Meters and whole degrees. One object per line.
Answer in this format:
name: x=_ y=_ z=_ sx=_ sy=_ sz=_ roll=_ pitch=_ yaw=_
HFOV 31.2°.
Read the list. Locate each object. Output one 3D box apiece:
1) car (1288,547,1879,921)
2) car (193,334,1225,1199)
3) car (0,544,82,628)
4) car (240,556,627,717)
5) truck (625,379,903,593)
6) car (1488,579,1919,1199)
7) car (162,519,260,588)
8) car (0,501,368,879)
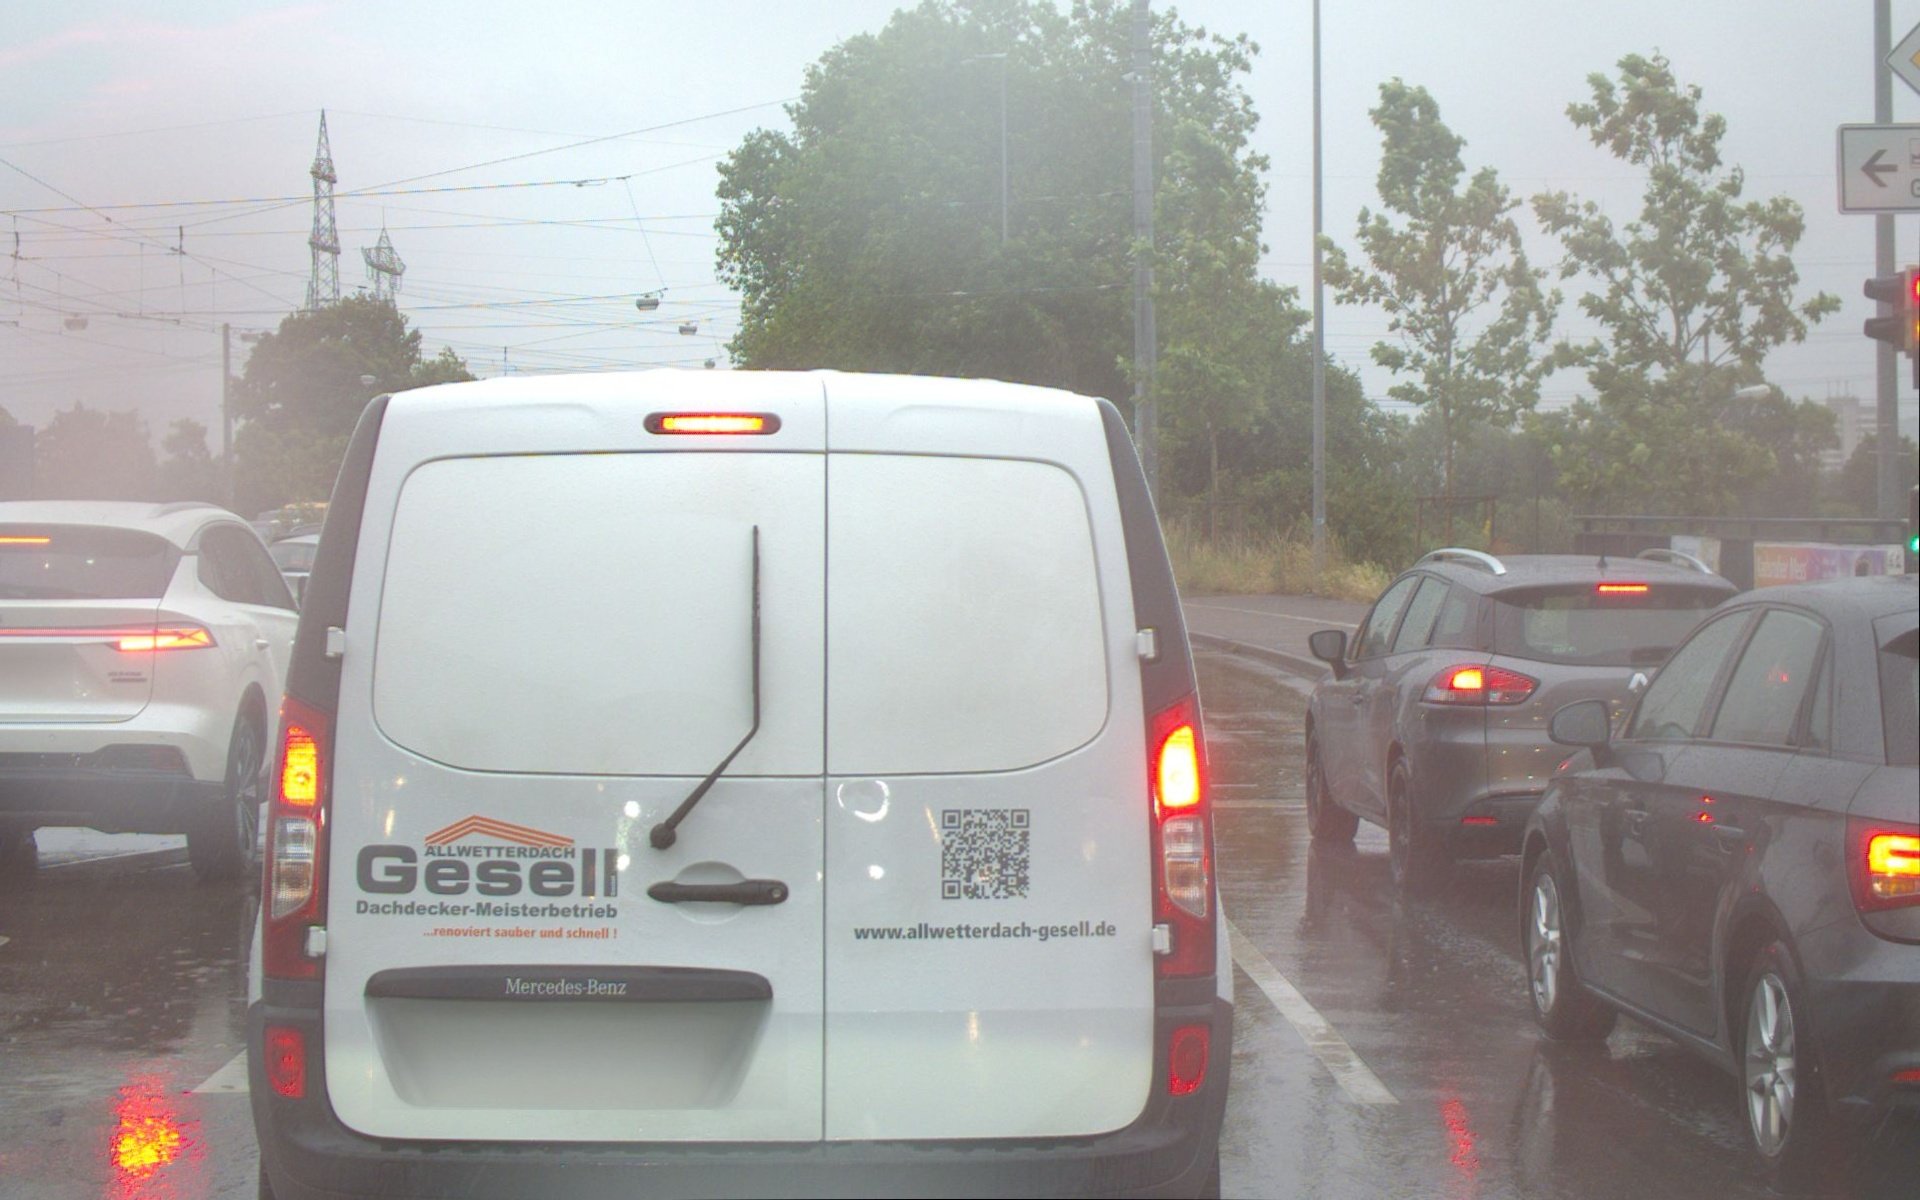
car: x=2.653 y=0.505 z=15.531 sx=1.859 sy=1.424 sz=3.808 roll=1 pitch=1 yaw=-2
car: x=-0.404 y=0.464 z=7.242 sx=1.566 sy=1.782 sz=4.000 roll=0 pitch=1 yaw=-1
car: x=-21.353 y=-0.338 z=77.334 sx=1.929 sy=1.820 sz=3.999 roll=1 pitch=1 yaw=4
car: x=-5.685 y=0.373 z=37.484 sx=1.618 sy=1.654 sz=4.070 roll=1 pitch=1 yaw=41
truck: x=-2.659 y=-1.547 z=49.049 sx=2.633 sy=2.806 sz=7.143 roll=1 pitch=1 yaw=8
car: x=2.522 y=0.637 z=8.927 sx=1.629 sy=1.340 sz=3.624 roll=1 pitch=1 yaw=-2
car: x=-22.614 y=-1.402 z=103.933 sx=1.993 sy=2.007 sz=4.000 roll=1 pitch=1 yaw=1
car: x=-3.964 y=0.308 z=16.155 sx=1.728 sy=1.530 sz=4.298 roll=1 pitch=1 yaw=-2
